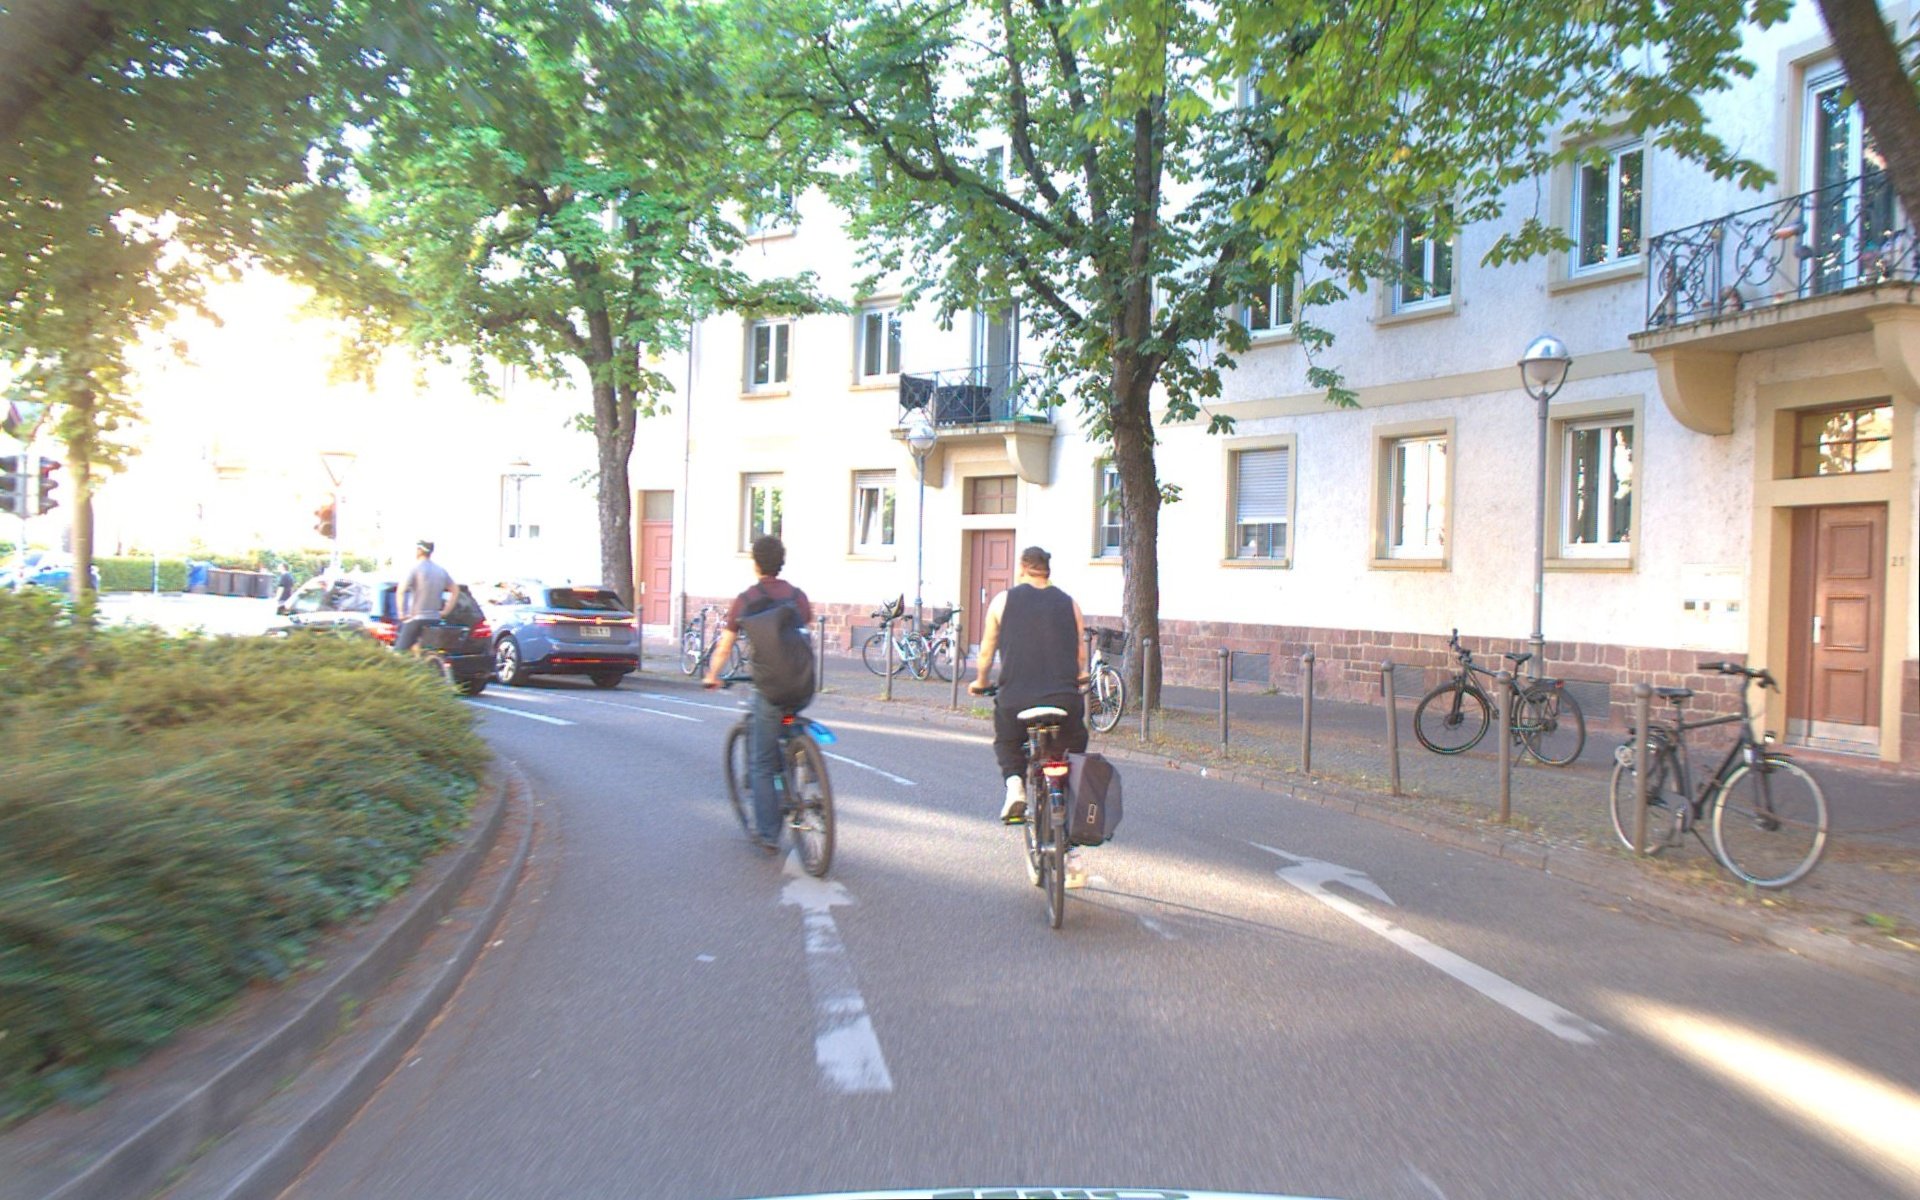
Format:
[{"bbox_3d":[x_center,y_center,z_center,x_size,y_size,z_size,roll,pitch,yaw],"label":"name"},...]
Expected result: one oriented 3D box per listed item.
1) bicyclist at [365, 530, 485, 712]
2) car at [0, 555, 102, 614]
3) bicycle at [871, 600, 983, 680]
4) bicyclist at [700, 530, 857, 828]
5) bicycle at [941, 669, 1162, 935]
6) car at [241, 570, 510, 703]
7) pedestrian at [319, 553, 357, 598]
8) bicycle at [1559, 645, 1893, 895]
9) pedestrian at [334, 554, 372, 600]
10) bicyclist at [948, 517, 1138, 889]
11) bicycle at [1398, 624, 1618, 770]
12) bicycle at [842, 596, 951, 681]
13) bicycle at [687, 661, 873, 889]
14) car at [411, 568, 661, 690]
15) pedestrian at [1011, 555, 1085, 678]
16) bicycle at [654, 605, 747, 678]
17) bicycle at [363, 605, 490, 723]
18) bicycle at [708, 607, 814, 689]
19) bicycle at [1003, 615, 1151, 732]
[{"bbox_3d":[-5.914,0.211,18.269,0.846,1.931,1.122,1,1,-42],"label":"bicyclist"},{"bbox_3d":[-27.170,-0.499,47.923,1.951,1.522,4.379,2,2,7],"label":"car"},{"bbox_3d":[-0.528,0.594,25.472,0.578,1.133,2.088,0,1,-38],"label":"bicycle"},{"bbox_3d":[-1.027,0.410,9.171,0.661,1.541,1.064,1,0,-18],"label":"bicyclist"},{"bbox_3d":[0.389,0.923,8.233,0.724,1.029,2.058,1,1,-7],"label":"bicycle"},{"bbox_3d":[-7.764,0.400,21.827,3.891,1.570,1.807,1,2,44],"label":"car"},{"bbox_3d":[-28.005,-1.097,74.502,1.134,1.996,1.388,2,0,2],"label":"pedestrian"},{"bbox_3d":[4.237,0.881,9.344,0.667,1.179,1.996,0,0,-11],"label":"bicycle"},{"bbox_3d":[-27.045,-1.036,73.708,1.134,1.996,1.388,2,0,2],"label":"pedestrian"},{"bbox_3d":[0.386,0.478,8.119,0.738,1.711,0.912,2,0,-8],"label":"bicyclist"},{"bbox_3d":[4.905,0.836,14.905,0.667,1.203,1.795,-1,0,-40],"label":"bicycle"},{"bbox_3d":[-0.984,0.560,25.094,0.491,1.192,2.088,-3,3,-38],"label":"bicycle"},{"bbox_3d":[-1.067,0.914,9.341,0.663,1.072,2.051,1,0,-17],"label":"bicycle"},{"bbox_3d":[-6.350,0.383,24.533,1.883,1.605,3.936,1,1,-44],"label":"car"},{"bbox_3d":[1.345,0.237,25.232,0.648,1.826,0.992,2,2,41],"label":"pedestrian"},{"bbox_3d":[-4.002,0.616,25.411,0.515,1.016,2.165,1,1,-34],"label":"bicycle"},{"bbox_3d":[-5.916,0.676,18.264,0.594,1.182,2.012,2,0,-40],"label":"bicycle"},{"bbox_3d":[-2.939,0.680,24.248,0.612,1.076,1.901,-1,2,-40],"label":"bicycle"},{"bbox_3d":[1.266,0.782,18.330,0.610,1.132,1.971,-2,3,-31],"label":"bicycle"}]
